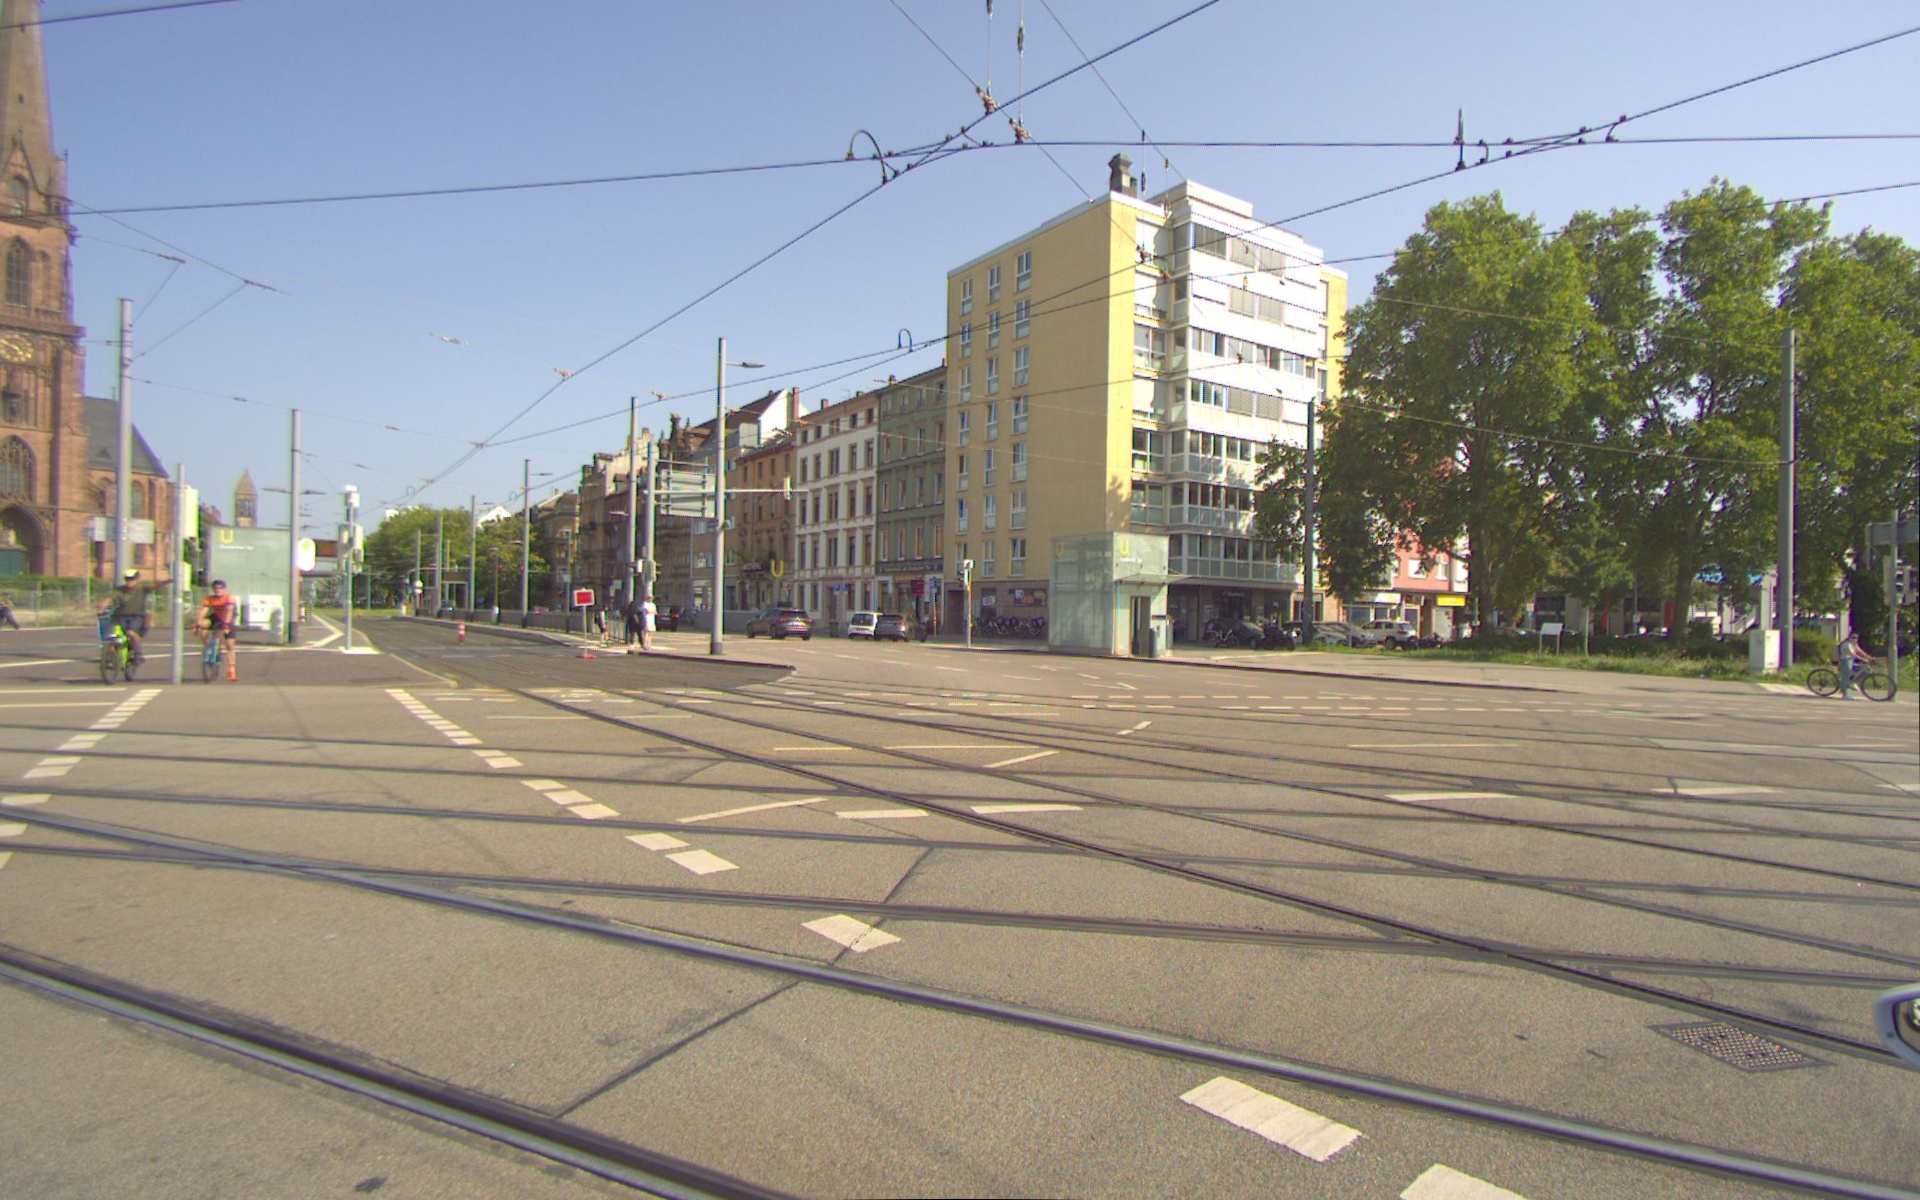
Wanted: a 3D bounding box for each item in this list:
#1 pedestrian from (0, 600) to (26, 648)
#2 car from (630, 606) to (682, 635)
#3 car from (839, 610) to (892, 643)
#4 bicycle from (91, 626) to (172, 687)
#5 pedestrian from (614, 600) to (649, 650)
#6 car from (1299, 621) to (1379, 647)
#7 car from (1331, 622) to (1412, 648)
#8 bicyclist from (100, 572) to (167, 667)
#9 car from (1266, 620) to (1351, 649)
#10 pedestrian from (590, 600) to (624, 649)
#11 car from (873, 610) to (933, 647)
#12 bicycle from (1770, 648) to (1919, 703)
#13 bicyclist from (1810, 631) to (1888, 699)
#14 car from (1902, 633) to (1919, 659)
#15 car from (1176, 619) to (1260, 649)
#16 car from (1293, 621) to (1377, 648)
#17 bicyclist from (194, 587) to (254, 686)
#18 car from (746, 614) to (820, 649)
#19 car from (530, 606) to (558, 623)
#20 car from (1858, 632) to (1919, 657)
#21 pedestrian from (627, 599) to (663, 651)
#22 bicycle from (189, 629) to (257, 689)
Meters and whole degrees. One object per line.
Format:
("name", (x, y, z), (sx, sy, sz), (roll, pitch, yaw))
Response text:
("pedestrian", (-35.998, 0.893, 37.994), (0.741, 1.806, 0.704), (1, -1, -22))
("car", (-19.050, 1.272, 62.861), (1.978, 1.701, 4.510), (1, -1, -32))
("car", (-5.100, 1.402, 54.856), (1.959, 1.701, 4.553), (1, -1, 7))
("bicycle", (-13.975, 0.932, 16.994), (0.717, 0.944, 1.805), (1, -1, -29))
("pedestrian", (-11.440, 0.862, 35.005), (0.913, 1.712, 0.916), (1, 0, -35))
("car", (21.589, 1.928, 57.367), (1.563, 1.372, 4.127), (1, -1, -36))
("car", (23.685, 1.976, 57.934), (1.563, 1.372, 4.127), (1, -1, -36))
("bicyclist", (-13.966, 0.329, 16.999), (0.717, 1.547, 0.791), (1, -1, -29))
("car", (18.511, 1.821, 53.462), (1.563, 1.372, 4.127), (1, -1, -36))
("pedestrian", (-12.812, 0.883, 36.460), (0.913, 1.712, 0.916), (1, 0, -35))
("car", (-2.809, 1.403, 50.630), (1.959, 1.701, 4.553), (1, -1, 11))
("bicycle", (21.548, 1.805, 24.509), (0.950, 1.071, 2.585), (2, 2, -31))
("bicyclist", (21.605, 1.564, 24.430), (0.950, 1.548, 1.156), (1, 1, -32))
("car", (60.981, 2.866, 61.577), (4.423, 1.543, 1.706), (1, 0, 13))
("car", (12.960, 1.712, 50.711), (1.467, 1.372, 4.127), (1, -1, -36))
("car", (20.561, 1.883, 55.223), (1.563, 1.372, 4.127), (1, -1, -36))
("bicyclist", (-12.831, 0.625, 17.540), (0.717, 1.674, 0.877), (1, -1, -29))
("car", (-8.223, 1.432, 46.308), (1.818, 1.454, 4.510), (1, -1, -32))
("car", (-43.404, 1.483, 104.729), (1.978, 1.701, 4.510), (1, -1, -32))
("car", (62.081, 2.954, 65.917), (4.423, 1.543, 1.706), (1, 0, 13))
("pedestrian", (-10.588, 0.848, 33.766), (0.913, 1.712, 0.916), (1, 0, -35))
("bicycle", (-12.837, 1.004, 17.538), (0.717, 0.944, 1.805), (1, -1, -29))
